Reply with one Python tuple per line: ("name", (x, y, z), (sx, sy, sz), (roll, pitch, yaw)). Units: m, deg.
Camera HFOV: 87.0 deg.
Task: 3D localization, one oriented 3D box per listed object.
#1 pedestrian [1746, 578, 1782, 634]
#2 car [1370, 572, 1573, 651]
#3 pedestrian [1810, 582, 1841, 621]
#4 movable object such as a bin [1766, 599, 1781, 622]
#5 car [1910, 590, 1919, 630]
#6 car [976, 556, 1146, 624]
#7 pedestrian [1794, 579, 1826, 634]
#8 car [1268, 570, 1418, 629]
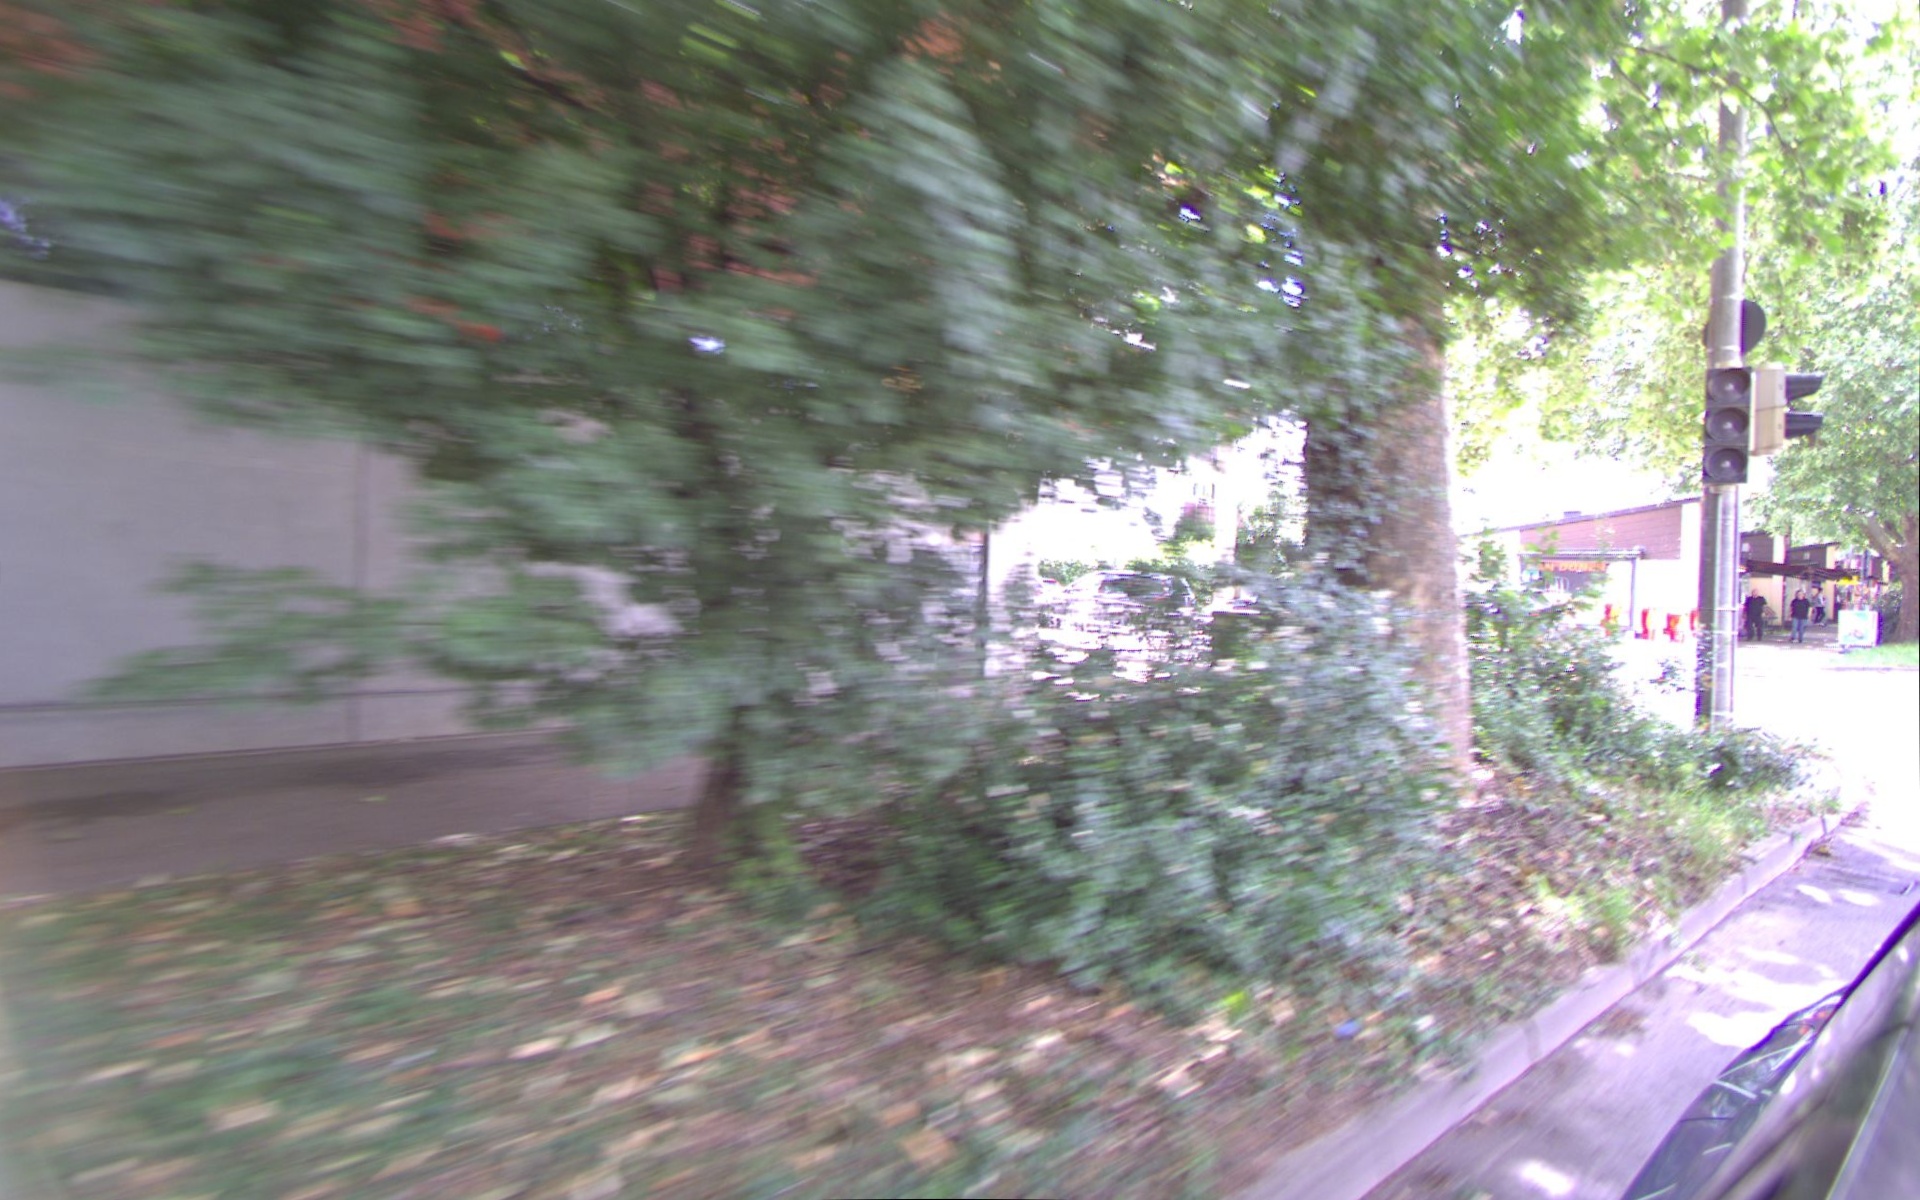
("pedestrian", (25.935, 0.185, 32.644), (0.648, 1.746, 0.759), (0, 2, -45))
("car", (12.838, 0.240, 25.523), (4.178, 1.703, 1.982), (3, 1, 42))
("pedestrian", (41.822, 0.050, 48.910), (0.595, 1.823, 0.925), (1, 2, 4))
("movable object such as a bin", (32.860, 0.426, 40.877), (0.436, 0.925, 0.579), (3, 2, 40))
("car", (39.466, 0.477, 39.175), (3.830, 1.581, 1.594), (4, 3, 43))
("car", (2.644, -0.302, 27.020), (4.228, 1.624, 1.864), (3, 2, 42))
("pedestrian", (26.912, 0.189, 32.034), (0.758, 1.697, 0.625), (0, 1, -40))
("car", (12.103, -0.053, 32.118), (4.091, 1.675, 1.783), (3, 2, 42))
